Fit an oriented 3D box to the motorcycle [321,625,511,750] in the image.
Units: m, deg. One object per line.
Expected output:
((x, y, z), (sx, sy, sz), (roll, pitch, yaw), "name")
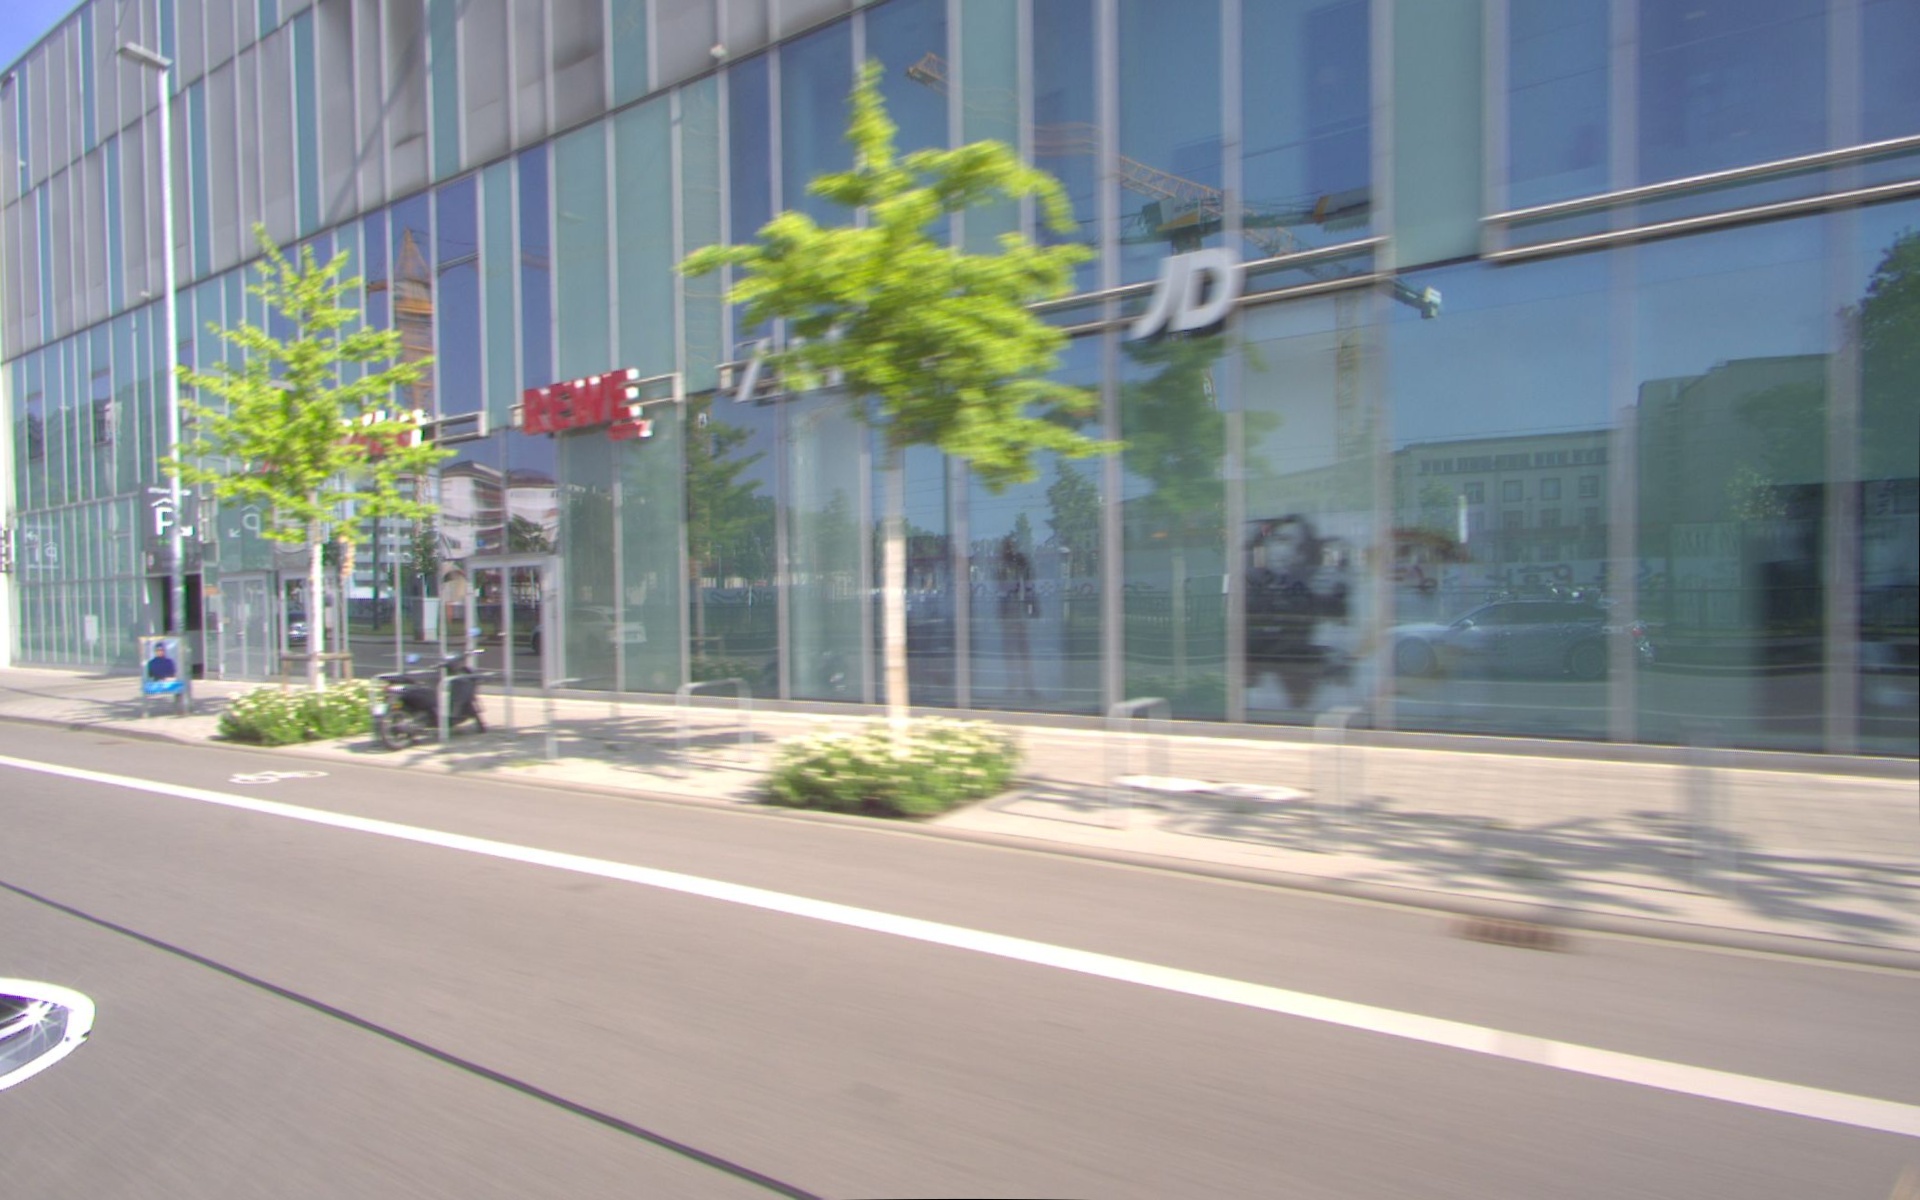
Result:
((-6.677, 1.019, 12.426), (0.853, 1.367, 1.970), (-1, 0, 21), "motorcycle")
